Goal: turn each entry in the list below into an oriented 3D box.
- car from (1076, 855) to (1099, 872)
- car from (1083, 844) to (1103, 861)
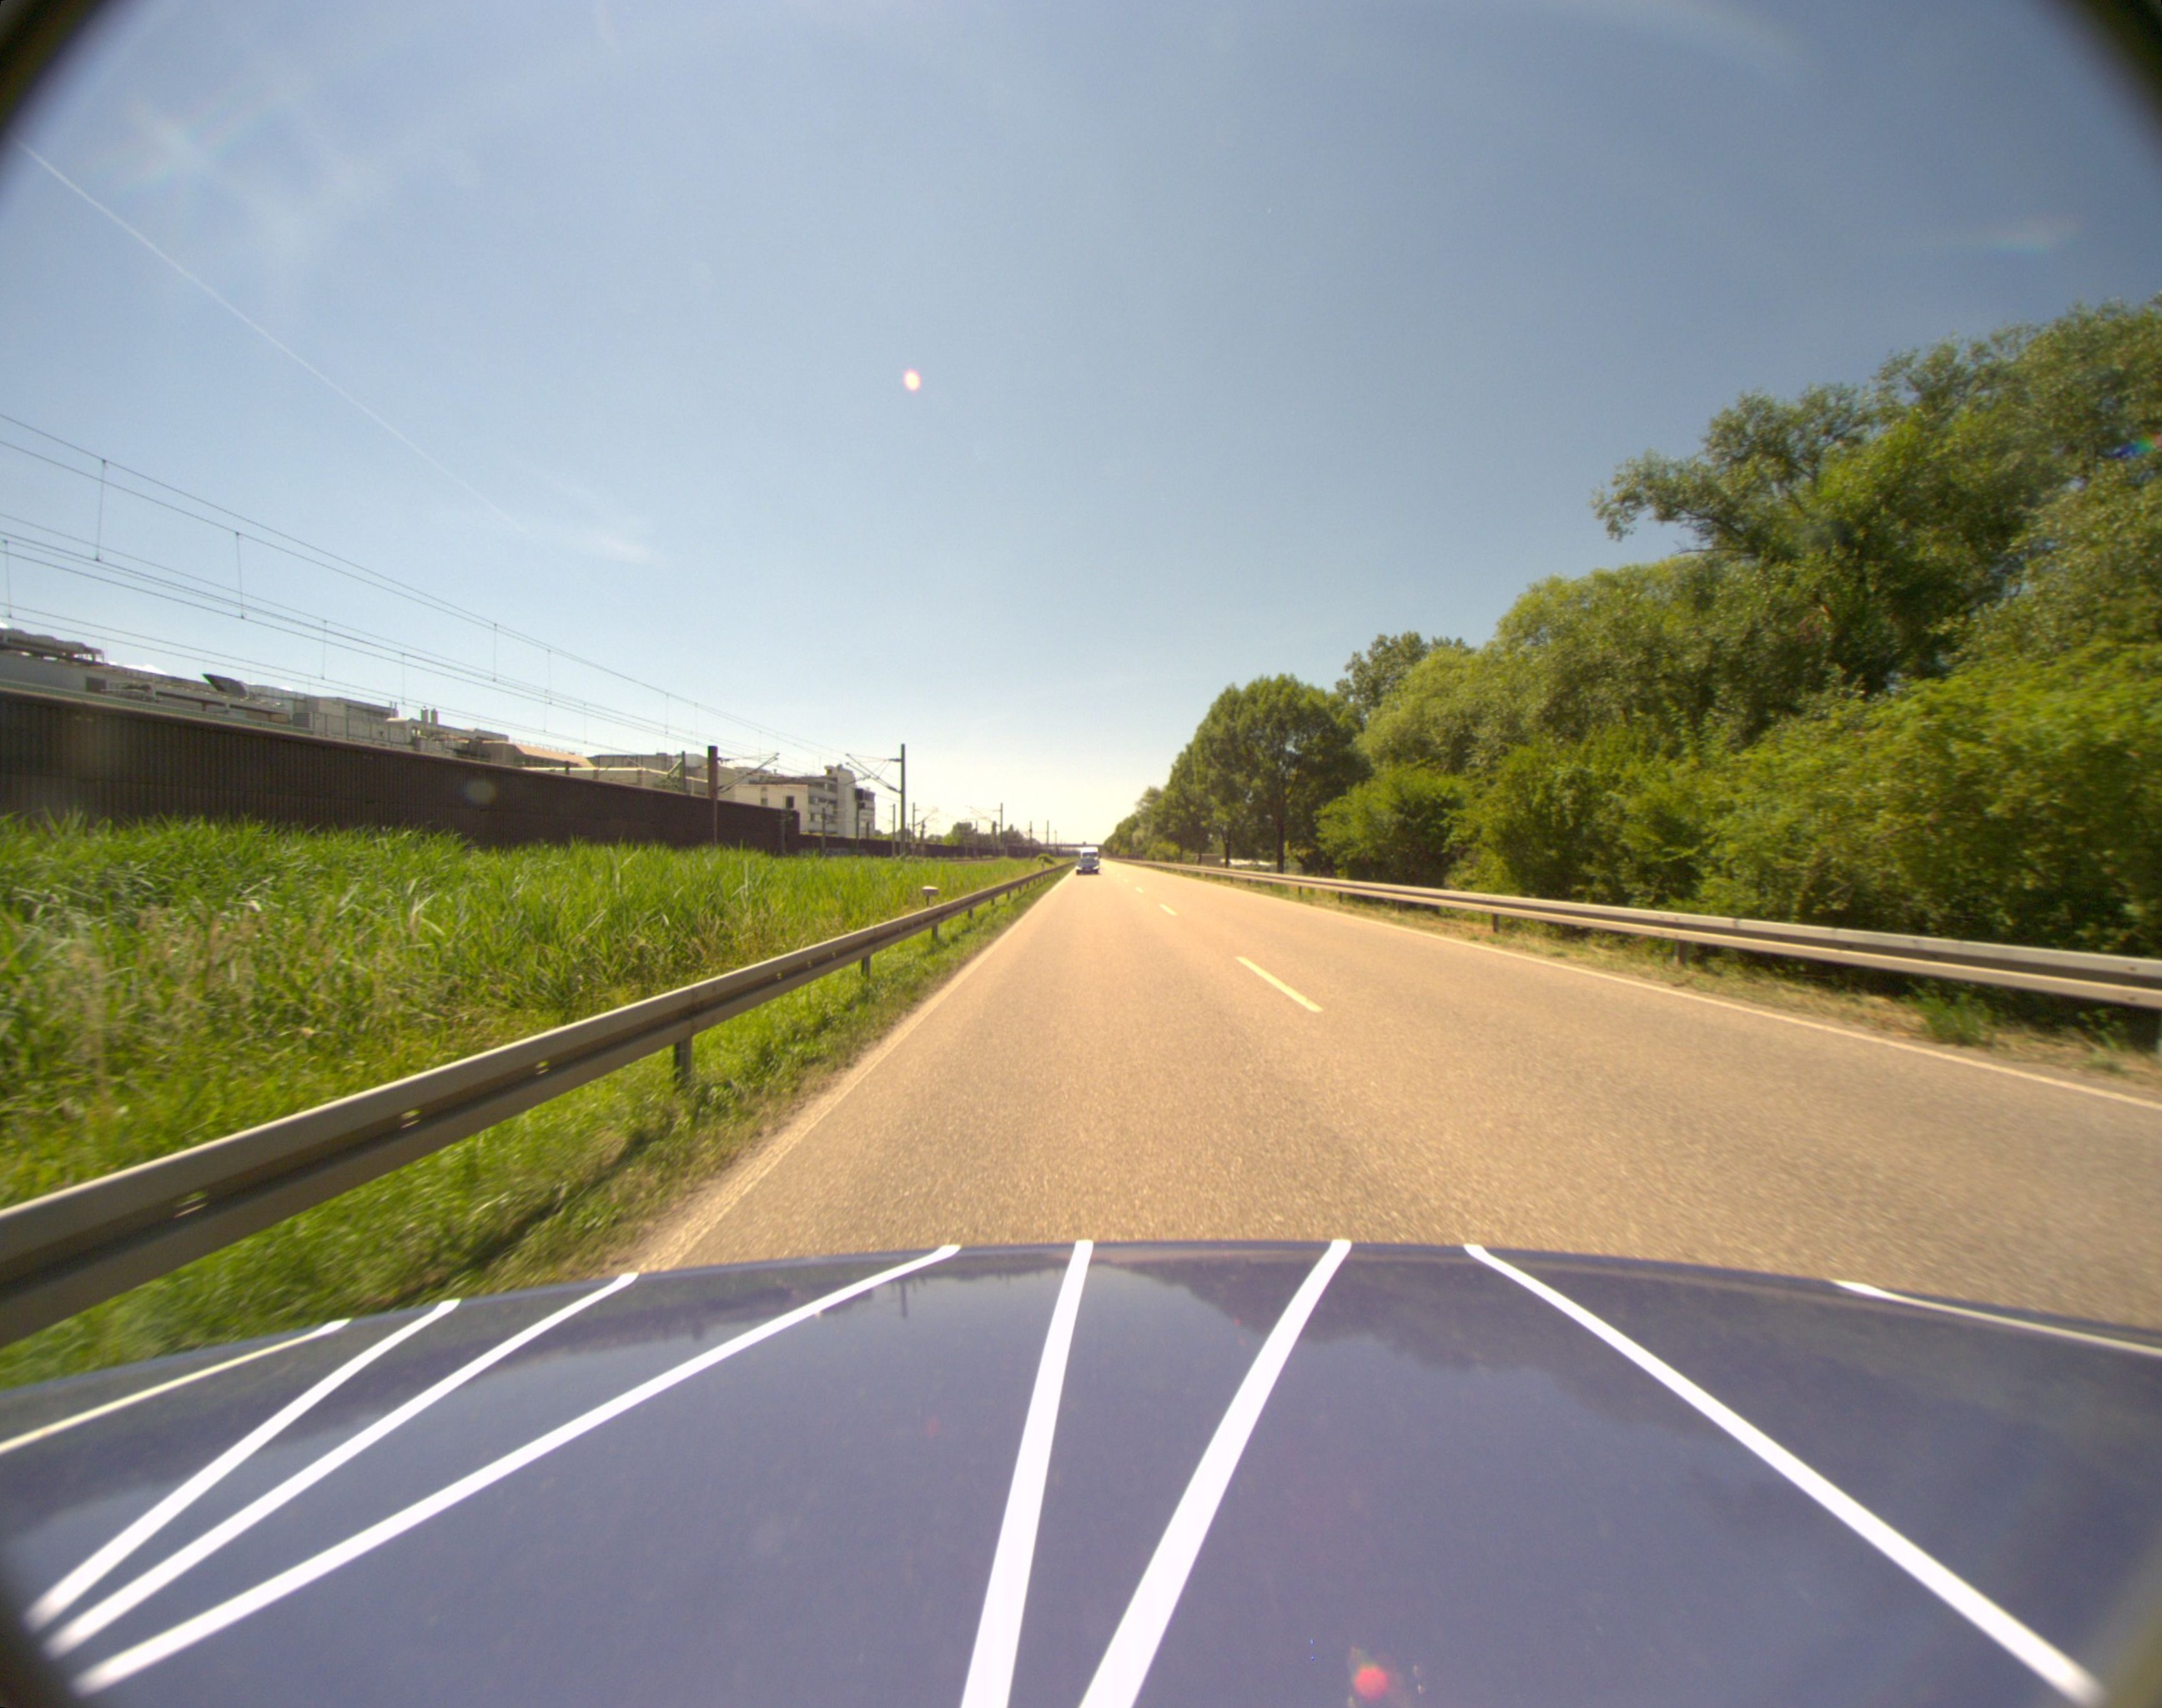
[{"bbox_3d":[0.557,0.753,62.571,1.758,1.313,4.000,-2,0,1],"label":"car"},{"bbox_3d":[1.365,-0.171,85.074,2.161,1.701,4.493,-2,0,1],"label":"car"}]
